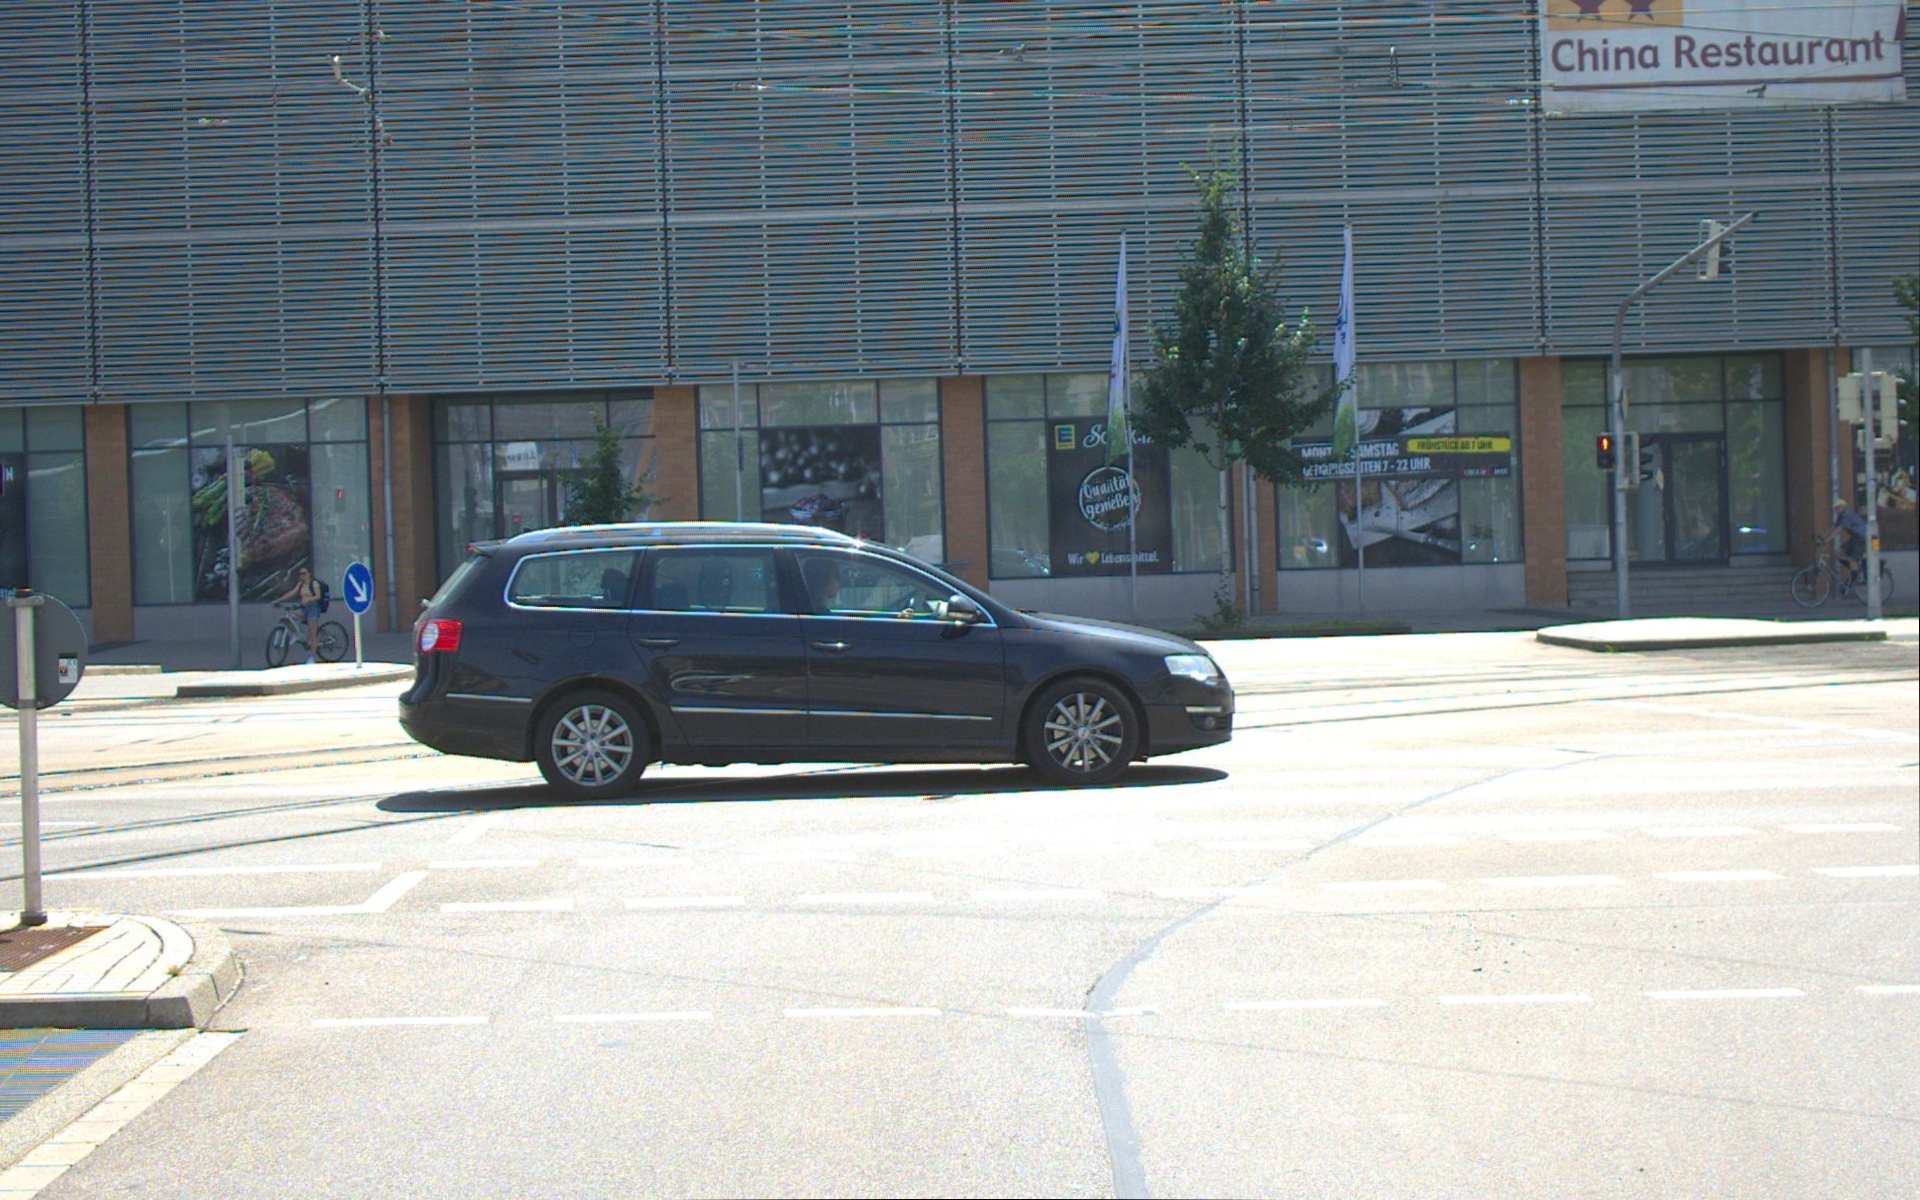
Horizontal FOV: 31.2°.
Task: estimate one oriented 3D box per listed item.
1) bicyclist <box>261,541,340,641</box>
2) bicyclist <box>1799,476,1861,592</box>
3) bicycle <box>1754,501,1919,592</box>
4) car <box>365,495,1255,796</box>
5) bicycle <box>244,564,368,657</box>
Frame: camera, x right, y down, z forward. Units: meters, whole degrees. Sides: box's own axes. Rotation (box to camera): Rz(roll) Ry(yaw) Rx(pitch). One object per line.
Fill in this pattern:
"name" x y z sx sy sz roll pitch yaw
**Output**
"bicyclist" -10.558 -0.149 55.051 1.040 1.566 0.777 0 2 7
"bicyclist" 15.179 -1.152 60.009 0.912 2.006 0.748 -1 2 2
"bicycle" 15.379 -0.938 60.057 2.849 1.552 0.704 -1 2 3
"car" -0.884 0.212 19.822 4.854 1.575 2.001 -1 2 -5
"bicycle" -10.509 0.152 55.408 1.062 1.385 3.023 0 2 7
